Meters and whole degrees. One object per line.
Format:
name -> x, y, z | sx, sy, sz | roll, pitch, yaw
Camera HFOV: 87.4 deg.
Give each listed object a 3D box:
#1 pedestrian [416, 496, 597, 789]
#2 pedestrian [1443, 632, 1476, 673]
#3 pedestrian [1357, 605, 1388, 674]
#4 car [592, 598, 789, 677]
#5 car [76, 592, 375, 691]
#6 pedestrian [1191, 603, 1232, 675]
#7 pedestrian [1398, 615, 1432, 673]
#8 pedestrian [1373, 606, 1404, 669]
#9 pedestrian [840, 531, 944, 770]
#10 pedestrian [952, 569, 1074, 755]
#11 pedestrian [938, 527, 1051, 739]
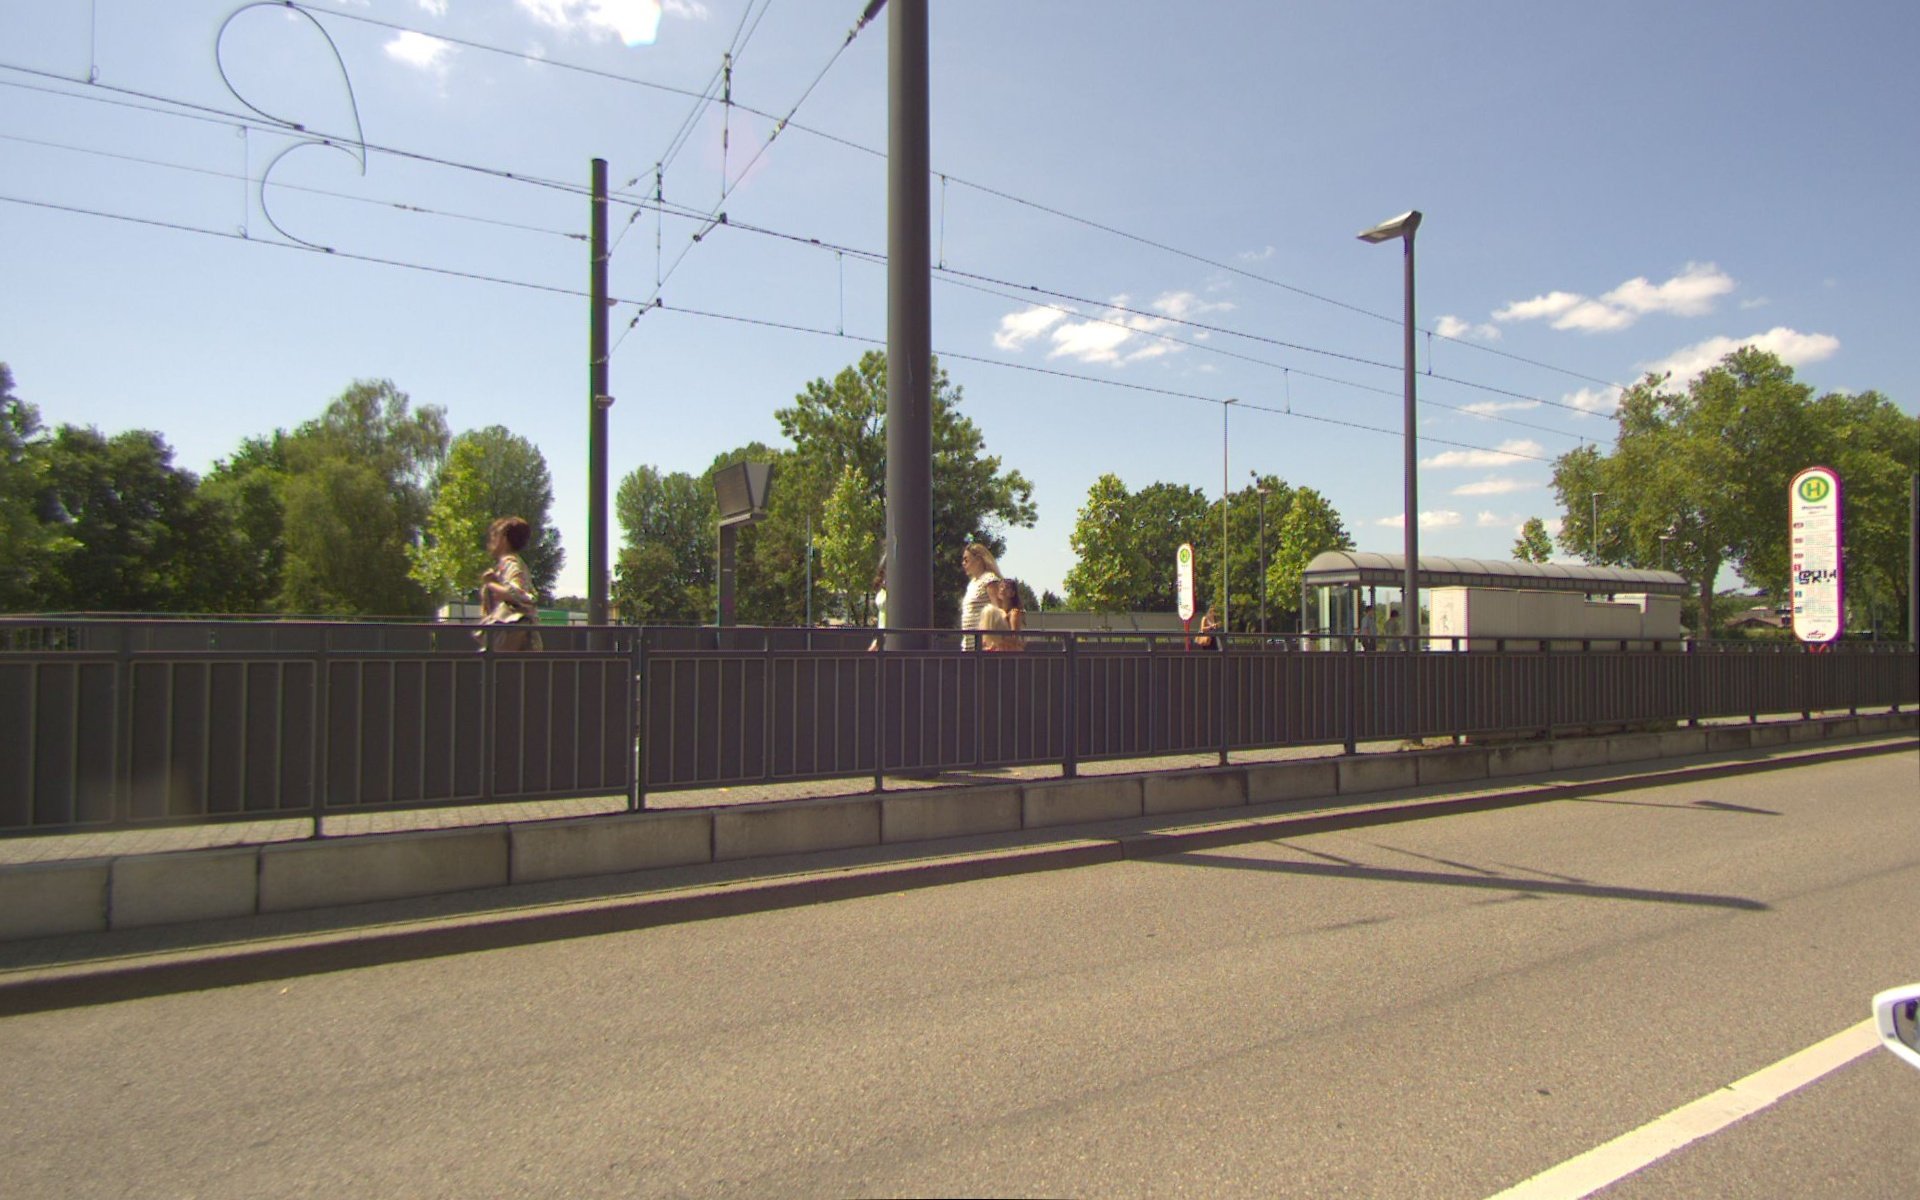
pedestrian -> -2.815, 0.248, 6.211 | 0.913, 1.626, 0.886 | 1, -1, -31
pedestrian -> 13.960, 1.463, 28.079 | 0.631, 1.109, 0.574 | 1, -1, -29
pedestrian -> 10.590, 1.009, 25.827 | 0.566, 1.752, 0.739 | 0, -1, 8
car -> -6.118, 0.828, 22.834 | 3.951, 1.650, 1.985 | 2, -1, -29
car -> -13.419, 0.744, 18.733 | 4.228, 1.650, 1.985 | 1, -1, -29
pedestrian -> 5.892, 0.903, 23.527 | 0.799, 1.659, 0.553 | 1, -1, -37
pedestrian -> 12.323, 1.180, 27.208 | 0.631, 1.553, 0.574 | 1, -1, -29
pedestrian -> 11.477, 0.992, 26.910 | 0.566, 1.660, 0.829 | 0, -1, 8
pedestrian -> -0.482, 0.345, 7.077 | 0.551, 1.598, 0.494 | 1, -1, -31
pedestrian -> 0.409, 0.461, 7.819 | 0.712, 1.363, 0.610 | 1, 0, -32
pedestrian -> 0.286, 0.272, 8.497 | 0.712, 1.703, 0.610 | 1, 0, -32
